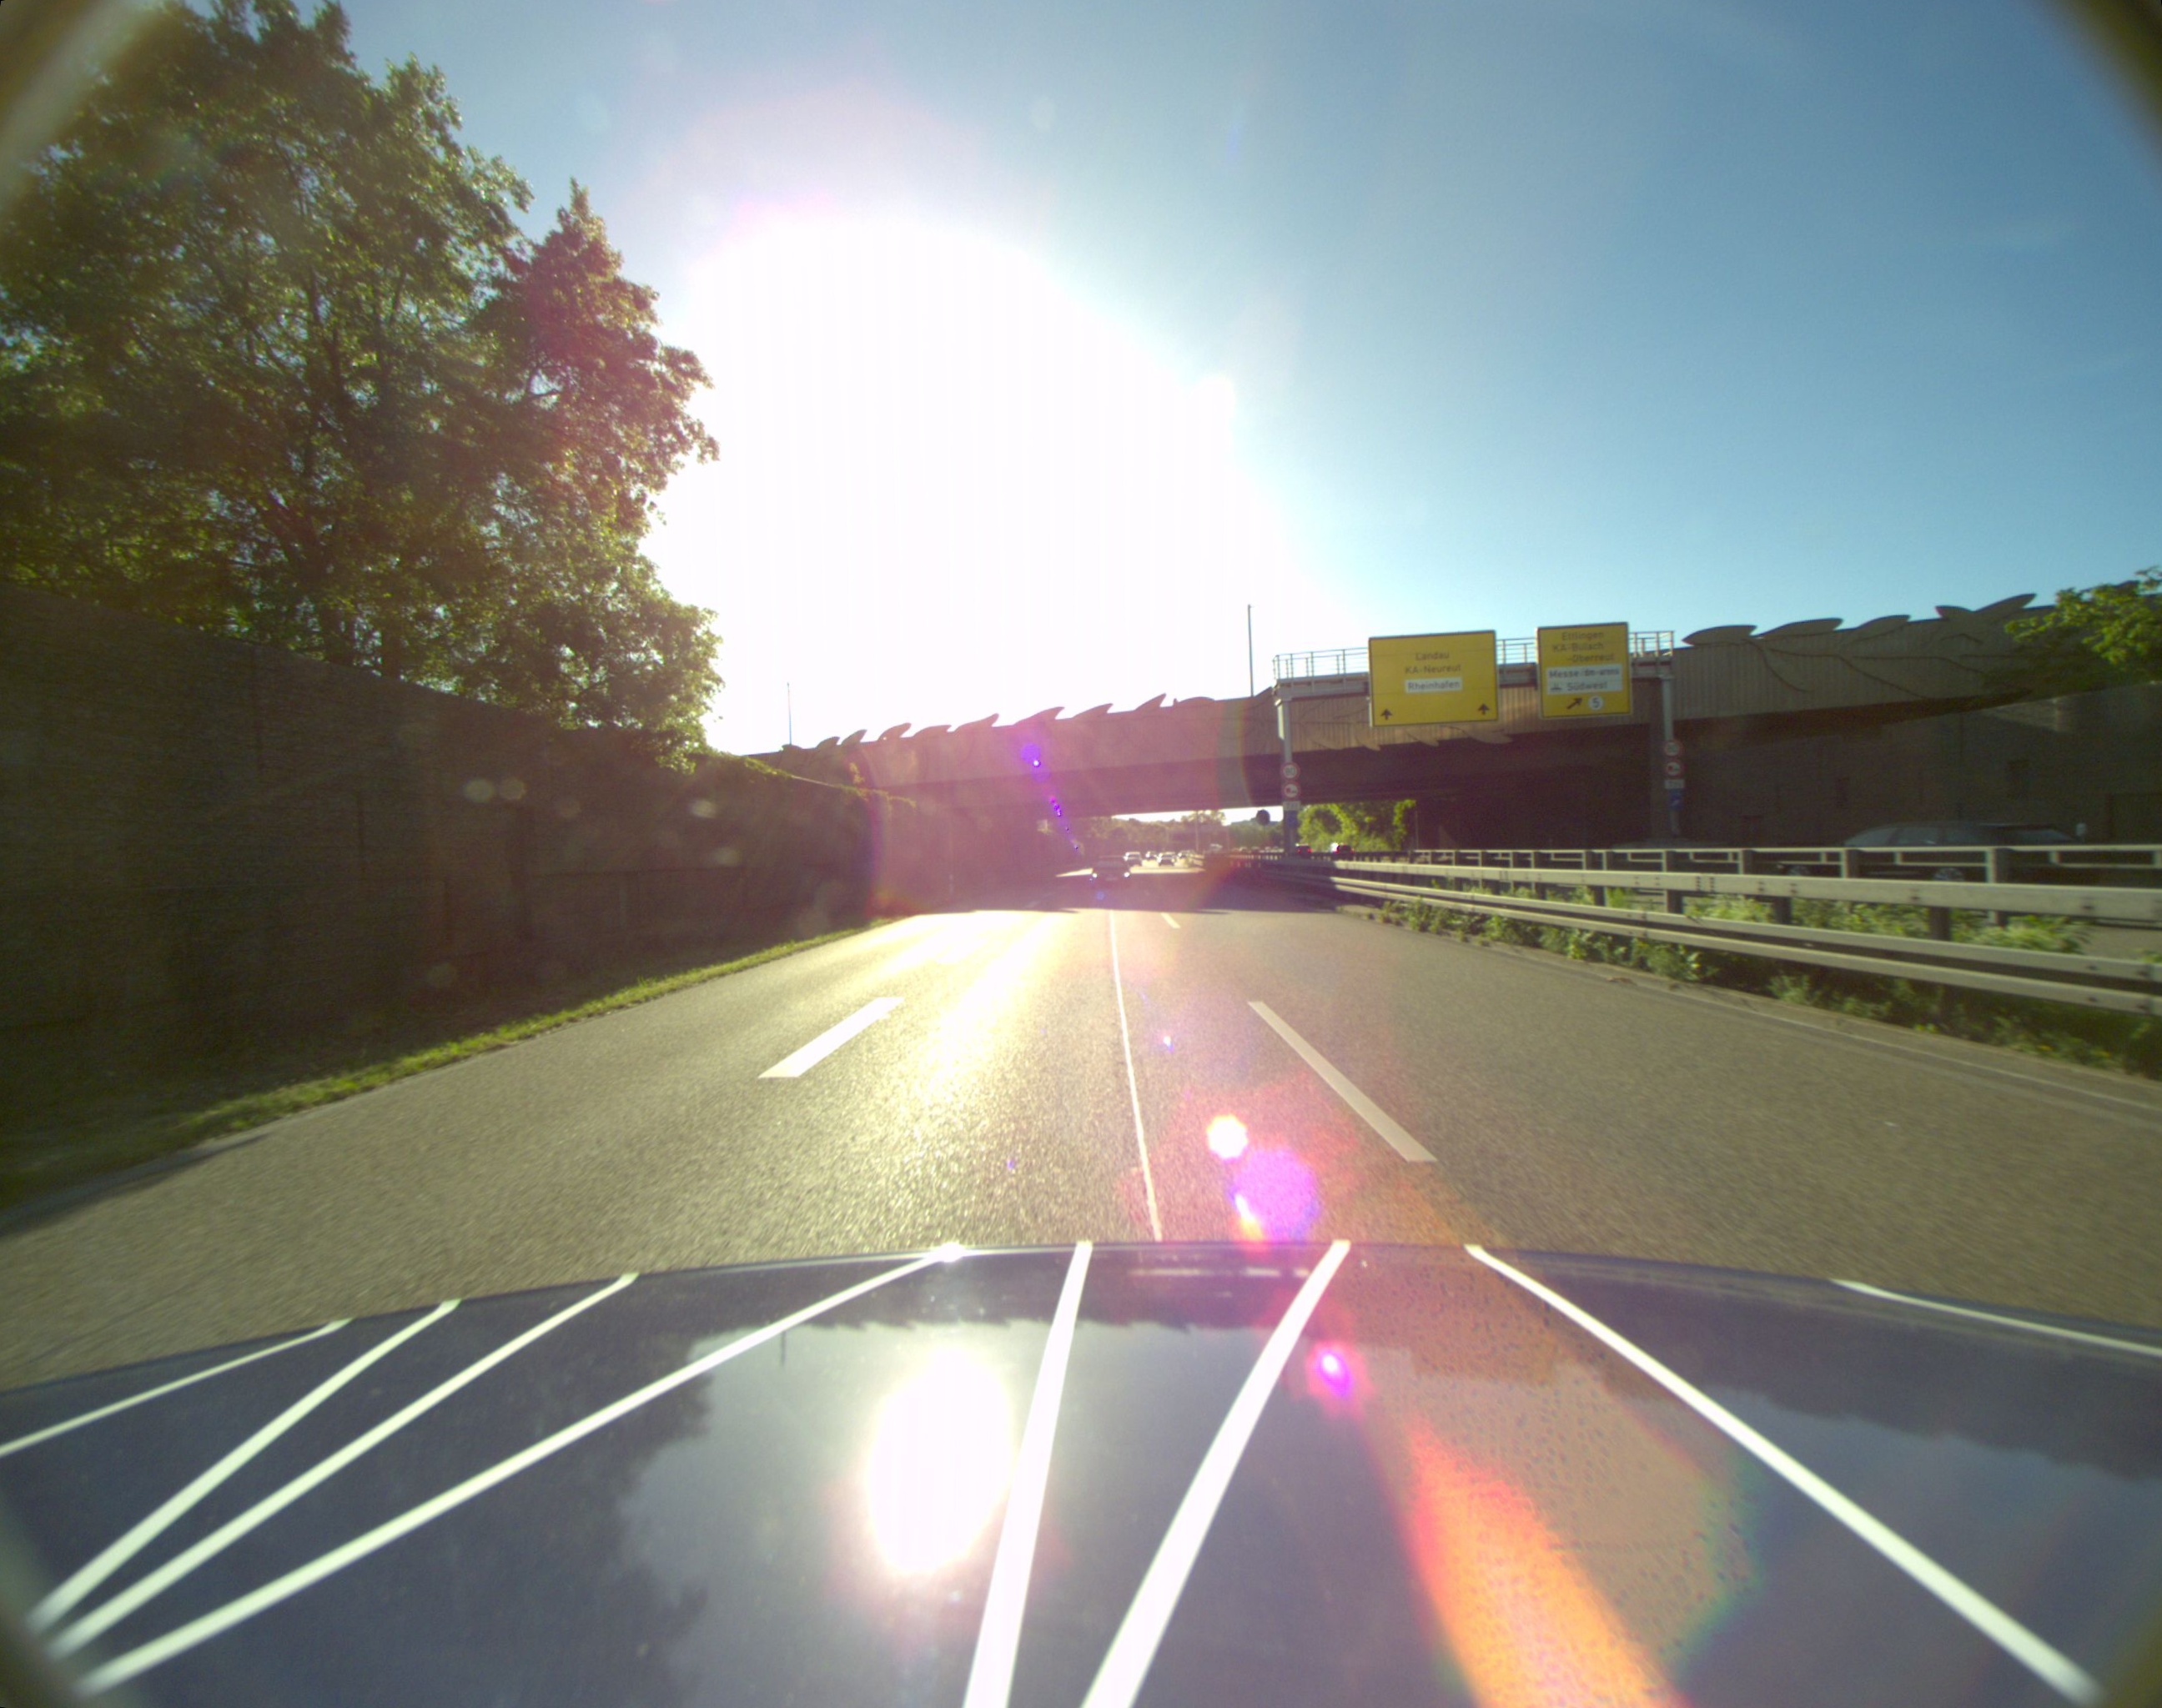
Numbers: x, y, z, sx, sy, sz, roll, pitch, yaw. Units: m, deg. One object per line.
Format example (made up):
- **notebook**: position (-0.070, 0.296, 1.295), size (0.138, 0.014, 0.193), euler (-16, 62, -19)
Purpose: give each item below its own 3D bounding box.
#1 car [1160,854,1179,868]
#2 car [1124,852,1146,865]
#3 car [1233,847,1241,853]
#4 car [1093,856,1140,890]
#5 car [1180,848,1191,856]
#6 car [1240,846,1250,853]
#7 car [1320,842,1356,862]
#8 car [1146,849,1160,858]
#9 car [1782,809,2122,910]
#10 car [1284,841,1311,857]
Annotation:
- **car**: position (9.936, 0.771, 85.555), size (1.997, 1.406, 4.833), euler (-3, 0, 7)
- **car**: position (6.447, 0.496, 89.756), size (1.997, 1.406, 4.834), euler (-3, 0, 10)
- **car**: position (46.579, -1.300, 226.847), size (1.997, 1.631, 4.724), euler (-3, 0, 10)
- **car**: position (1.609, 0.839, 35.529), size (1.998, 1.406, 4.831), euler (-2, 0, 1)
- **car**: position (20.842, -0.466, 151.862), size (1.997, 1.406, 4.834), euler (-3, 0, 9)
- **car**: position (38.390, -1.067, 177.939), size (1.997, 1.631, 4.724), euler (-3, 0, 10)
- **car**: position (22.646, -0.184, 67.102), size (1.998, 1.586, 4.428), euler (-3, 0, 5)
- **car**: position (12.851, -0.047, 135.495), size (1.997, 1.406, 4.834), euler (-3, 0, 10)
- **car**: position (16.584, 0.106, 14.895), size (1.549, 1.564, 4.396), euler (-5, 0, 1)
- **car**: position (24.282, -0.585, 85.368), size (1.998, 1.696, 4.562), euler (-2, 0, 5)
